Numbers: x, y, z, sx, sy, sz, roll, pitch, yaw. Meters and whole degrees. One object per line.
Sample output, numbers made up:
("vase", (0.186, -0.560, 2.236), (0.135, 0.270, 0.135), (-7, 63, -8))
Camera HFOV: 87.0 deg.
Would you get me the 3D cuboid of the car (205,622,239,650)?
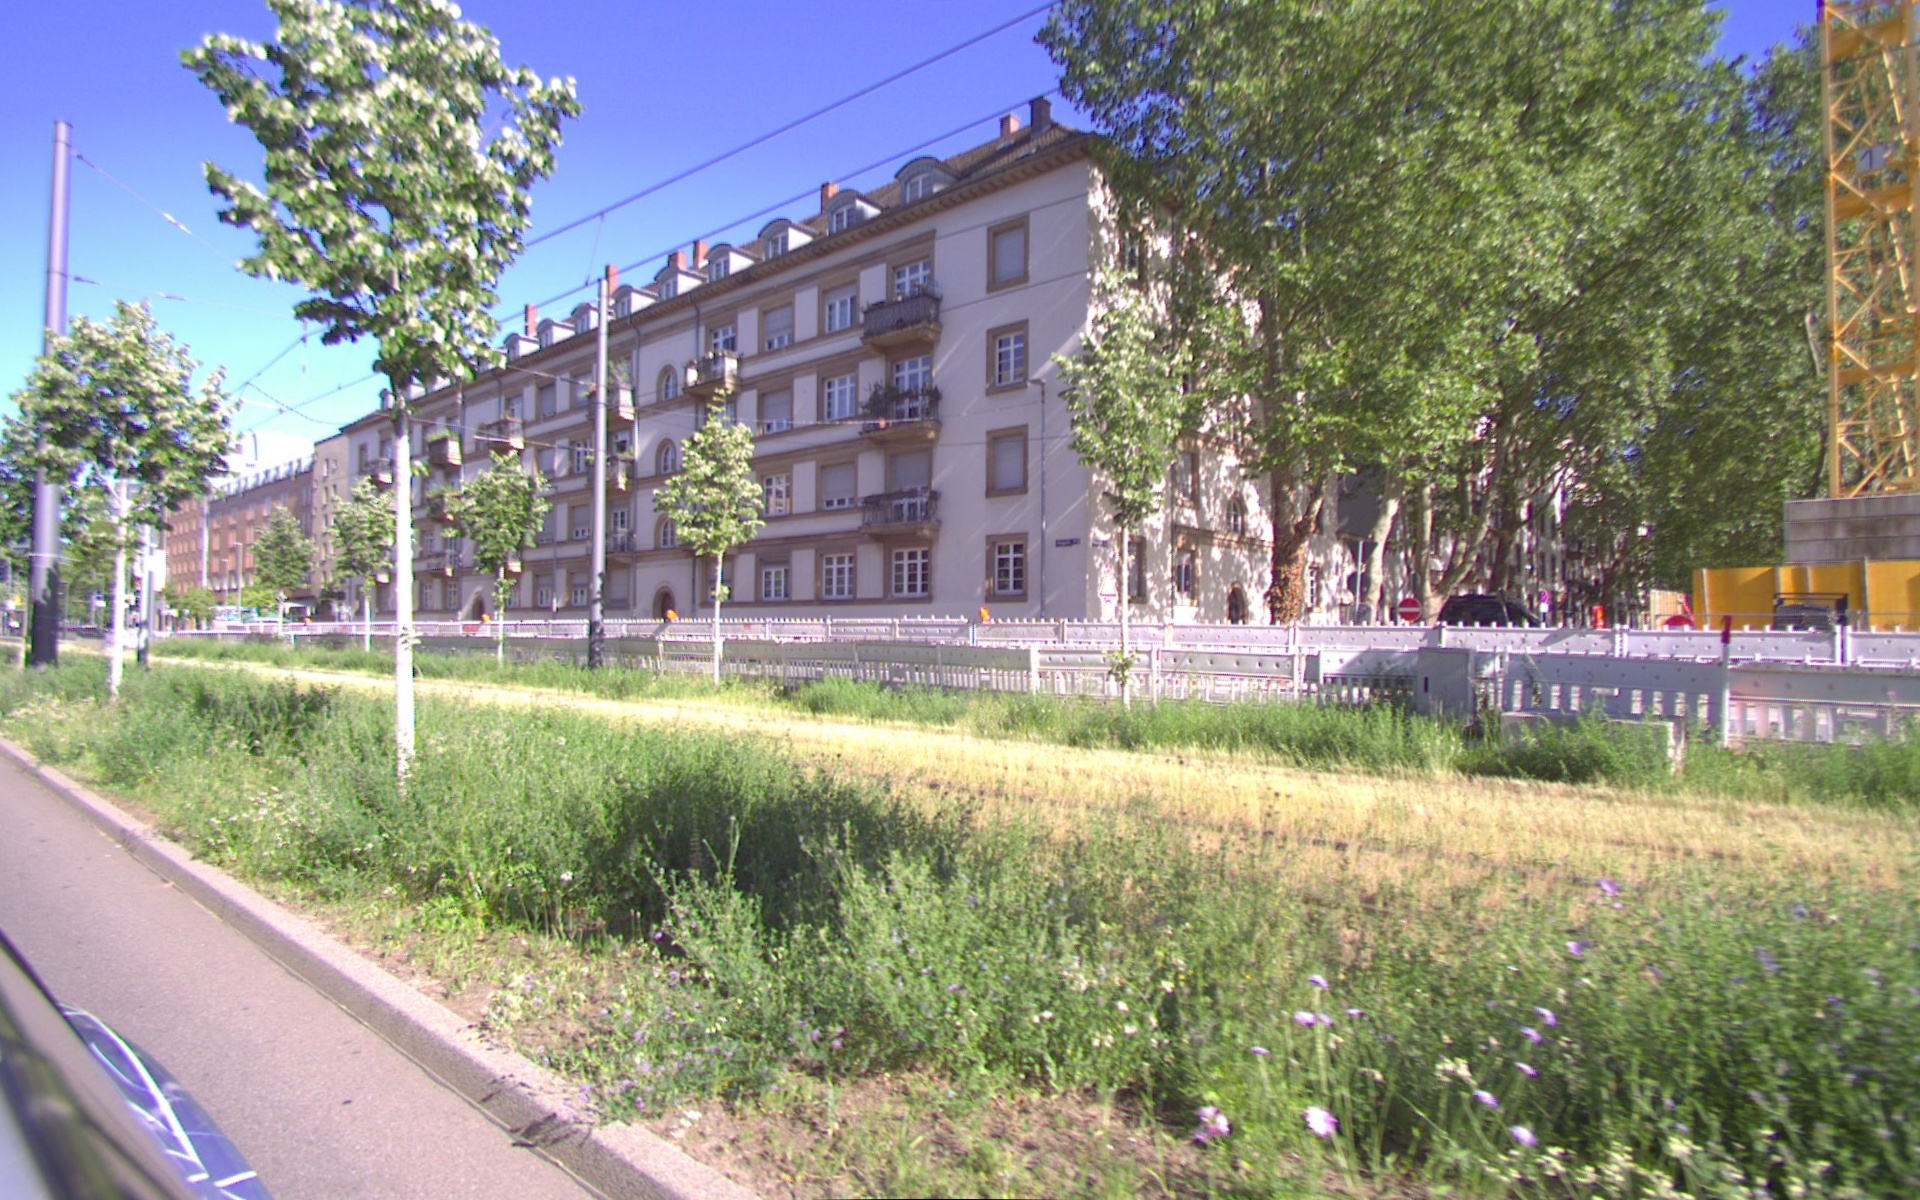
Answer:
("car", (-64.980, 3.165, 89.104), (1.969, 2.314, 5.197), (0, -1, -41))
